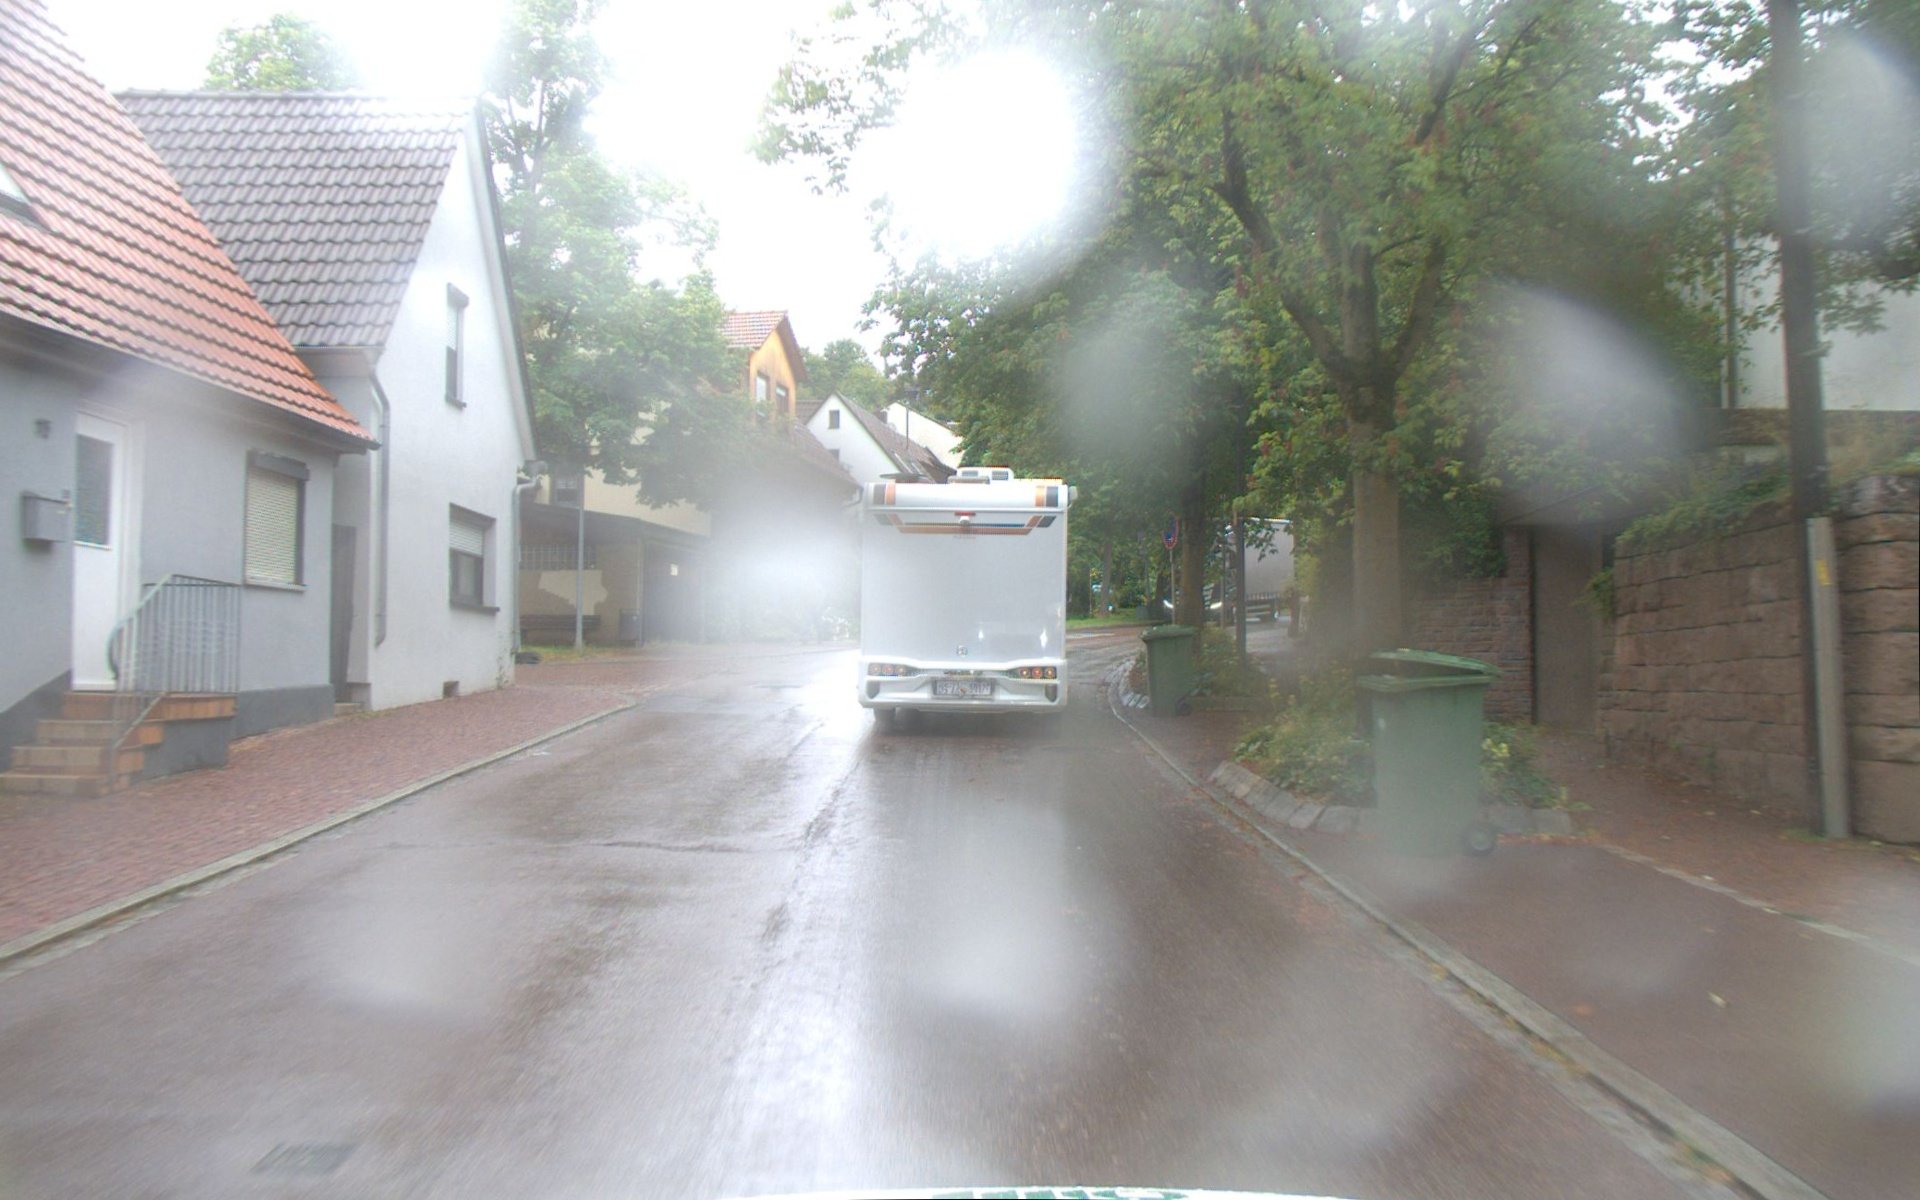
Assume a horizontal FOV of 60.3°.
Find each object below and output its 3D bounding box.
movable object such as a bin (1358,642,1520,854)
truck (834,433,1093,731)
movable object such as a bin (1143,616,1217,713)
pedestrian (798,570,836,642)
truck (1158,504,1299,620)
[{"bbox_3d":[2.766,0.837,9.608,0.709,1.163,0.703,0,0,-4],"label":"movable object such as a bin"},{"bbox_3d":[0.096,-0.168,20.110,2.639,3.038,6.237,0,0,1],"label":"truck"},{"bbox_3d":[2.677,0.777,20.205,0.753,1.126,0.884,-1,0,-1],"label":"movable object such as a bin"},{"bbox_3d":[-3.827,0.152,44.256,0.776,1.901,0.917,0,-1,12],"label":"pedestrian"},{"bbox_3d":[10.798,-1.419,65.567,2.782,4.239,9.968,1,0,26],"label":"truck"}]
